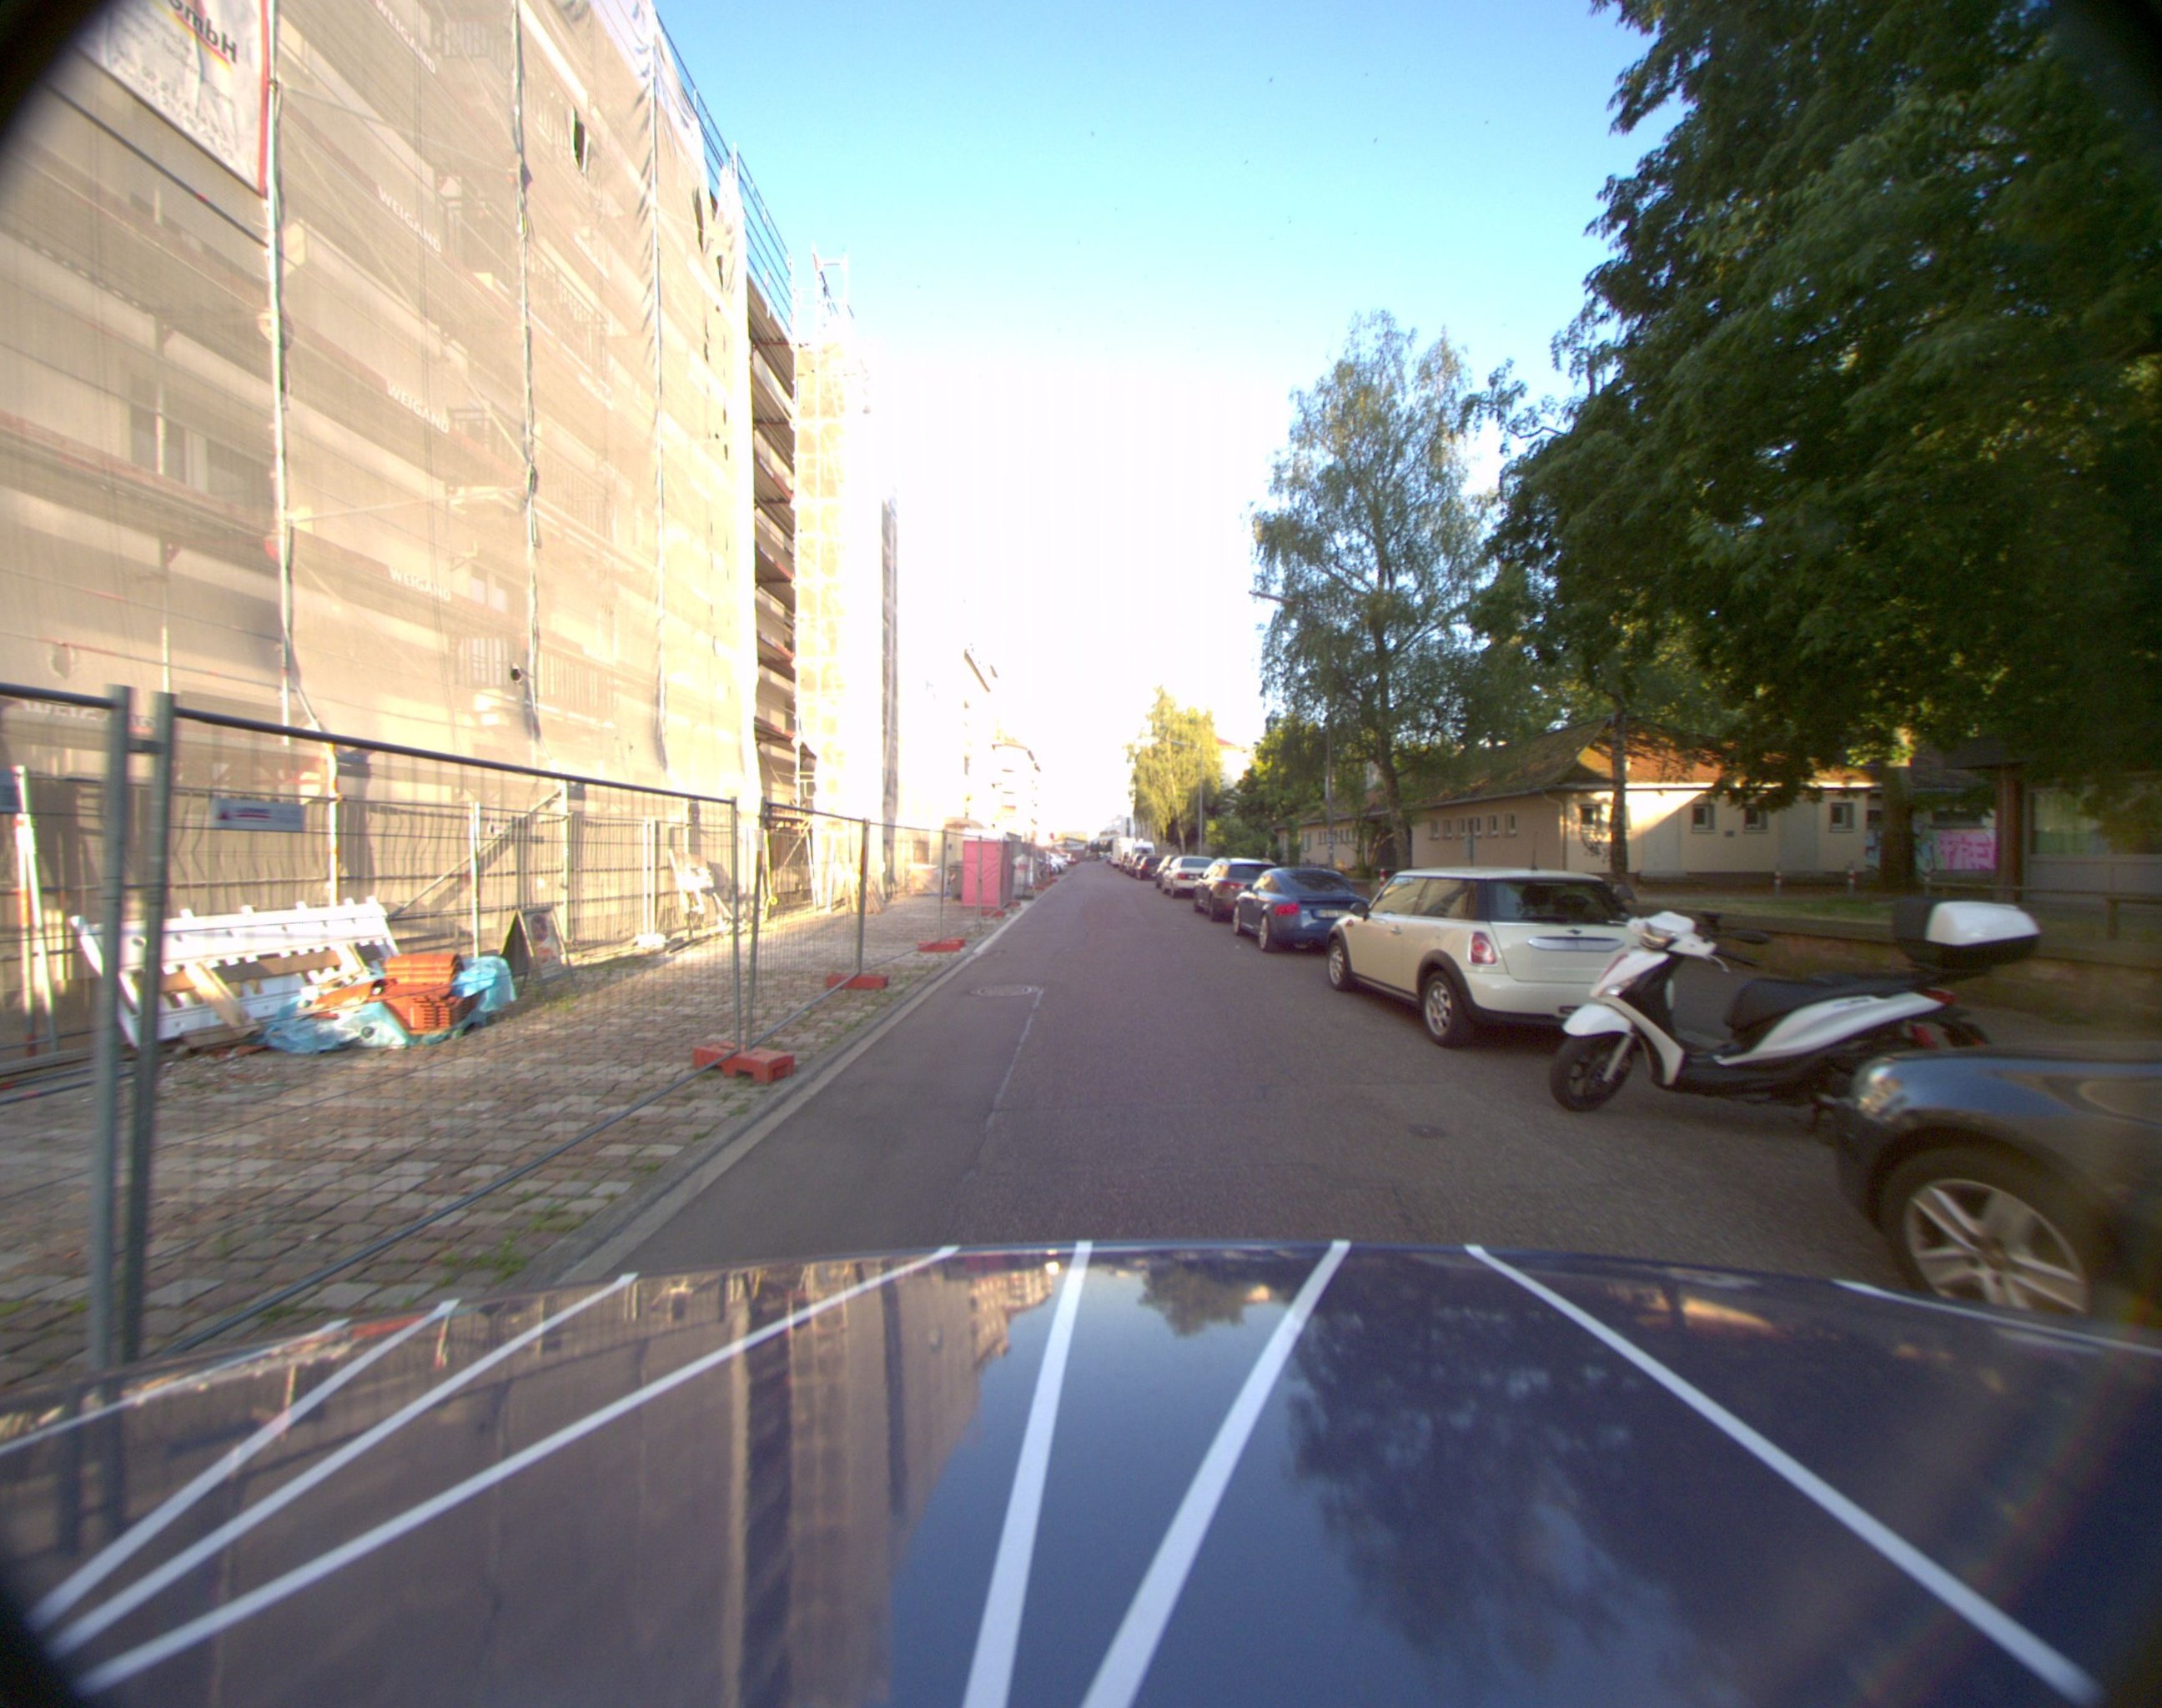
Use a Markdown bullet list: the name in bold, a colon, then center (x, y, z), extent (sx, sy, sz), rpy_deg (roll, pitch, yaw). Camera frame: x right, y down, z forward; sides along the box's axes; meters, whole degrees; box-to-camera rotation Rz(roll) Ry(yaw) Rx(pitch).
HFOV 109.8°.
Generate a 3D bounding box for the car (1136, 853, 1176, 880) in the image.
- **car**: center (4.341, 0.685, 44.436), extent (1.998, 1.444, 4.288), rpy_deg (-1, 0, 1)

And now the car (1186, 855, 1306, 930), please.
- **car**: center (3.808, 0.813, 18.384), extent (1.864, 1.529, 4.758), rpy_deg (1, 0, 0)

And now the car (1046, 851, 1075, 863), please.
- **car**: center (-2.845, 0.445, 105.224), extent (3.997, 1.619, 1.784), rpy_deg (0, 0, -2)

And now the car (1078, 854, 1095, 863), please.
- **car**: center (0.841, 0.781, 126.768), extent (2.000, 1.481, 4.427), rpy_deg (-1, 0, -11)

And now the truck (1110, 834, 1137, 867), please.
- **truck**: center (4.664, -0.380, 84.596), extent (2.532, 3.334, 8.017), rpy_deg (2, 0, 1)

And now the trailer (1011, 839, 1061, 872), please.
- **trailer**: center (-3.368, 0.101, 57.162), extent (3.577, 2.323, 1.940), rpy_deg (2, 0, -2)

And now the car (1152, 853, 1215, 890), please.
- **car**: center (4.304, 0.680, 32.398), extent (1.999, 1.444, 3.999), rpy_deg (-1, 0, -2)

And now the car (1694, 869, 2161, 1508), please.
- **car**: center (3.448, 0.833, 0.997), extent (1.720, 1.487, 4.360), rpy_deg (1, 0, 0)

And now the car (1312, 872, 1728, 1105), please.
- **car**: center (3.561, 0.962, 7.069), extent (1.605, 1.423, 3.803), rpy_deg (2, 0, 0)

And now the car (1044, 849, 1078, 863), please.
- **car**: center (-2.825, 0.251, 108.131), extent (4.685, 1.988, 2.000), rpy_deg (0, 0, 2)

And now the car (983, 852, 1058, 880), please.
- **car**: center (-3.499, 0.699, 44.644), extent (4.163, 1.606, 1.872), rpy_deg (0, 0, 2)

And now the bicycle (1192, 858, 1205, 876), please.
- **bicycle**: center (7.640, 0.818, 49.495), extent (0.544, 1.111, 1.955), rpy_deg (-1, 0, 0)

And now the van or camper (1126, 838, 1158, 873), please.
- **van or camper**: center (4.489, 0.108, 56.669), extent (1.998, 2.442, 6.083), rpy_deg (0, 0, 1)

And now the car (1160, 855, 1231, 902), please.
- **car**: center (3.923, 0.796, 26.779), extent (1.787, 1.437, 4.748), rpy_deg (2, 0, 0)

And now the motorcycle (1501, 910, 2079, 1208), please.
- **motorcycle**: center (3.644, 0.998, 4.190), extent (2.167, 1.296, 0.881), rpy_deg (-1, 1, 15)

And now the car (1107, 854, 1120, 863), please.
- **car**: center (5.477, 0.688, 128.348), extent (1.999, 1.481, 4.431), rpy_deg (-1, 0, -1)

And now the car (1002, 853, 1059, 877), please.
- **car**: center (-3.572, 0.763, 54.642), extent (3.998, 1.628, 1.903), rpy_deg (0, 0, -2)

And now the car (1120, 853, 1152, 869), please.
- **car**: center (4.497, 0.550, 62.604), extent (1.999, 1.182, 4.034), rpy_deg (-1, 0, -4)

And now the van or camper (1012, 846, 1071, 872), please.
- **van or camper**: center (-3.310, 0.422, 64.631), extent (4.846, 2.084, 2.040), rpy_deg (0, 0, 0)

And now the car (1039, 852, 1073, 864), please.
- **car**: center (-3.265, 0.498, 100.194), extent (4.310, 1.532, 1.923), rpy_deg (0, 0, 2)

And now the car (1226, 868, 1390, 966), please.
- **car**: center (3.676, 0.952, 13.086), extent (1.663, 1.306, 4.154), rpy_deg (1, 0, 1)

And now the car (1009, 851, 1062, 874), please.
- **car**: center (-3.530, 0.634, 59.266), extent (3.997, 1.718, 1.999), rpy_deg (0, 2, -1)

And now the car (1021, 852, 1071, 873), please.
- **car**: center (-2.828, 0.666, 61.894), extent (3.997, 1.630, 1.999), rpy_deg (0, 1, -1)

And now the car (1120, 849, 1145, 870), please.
- **car**: center (4.519, 0.442, 67.321), extent (1.915, 1.777, 4.949), rpy_deg (1, 0, 0)

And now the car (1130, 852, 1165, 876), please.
- **car**: center (4.380, 0.626, 50.759), extent (1.998, 1.510, 4.789), rpy_deg (-1, 0, 1)
